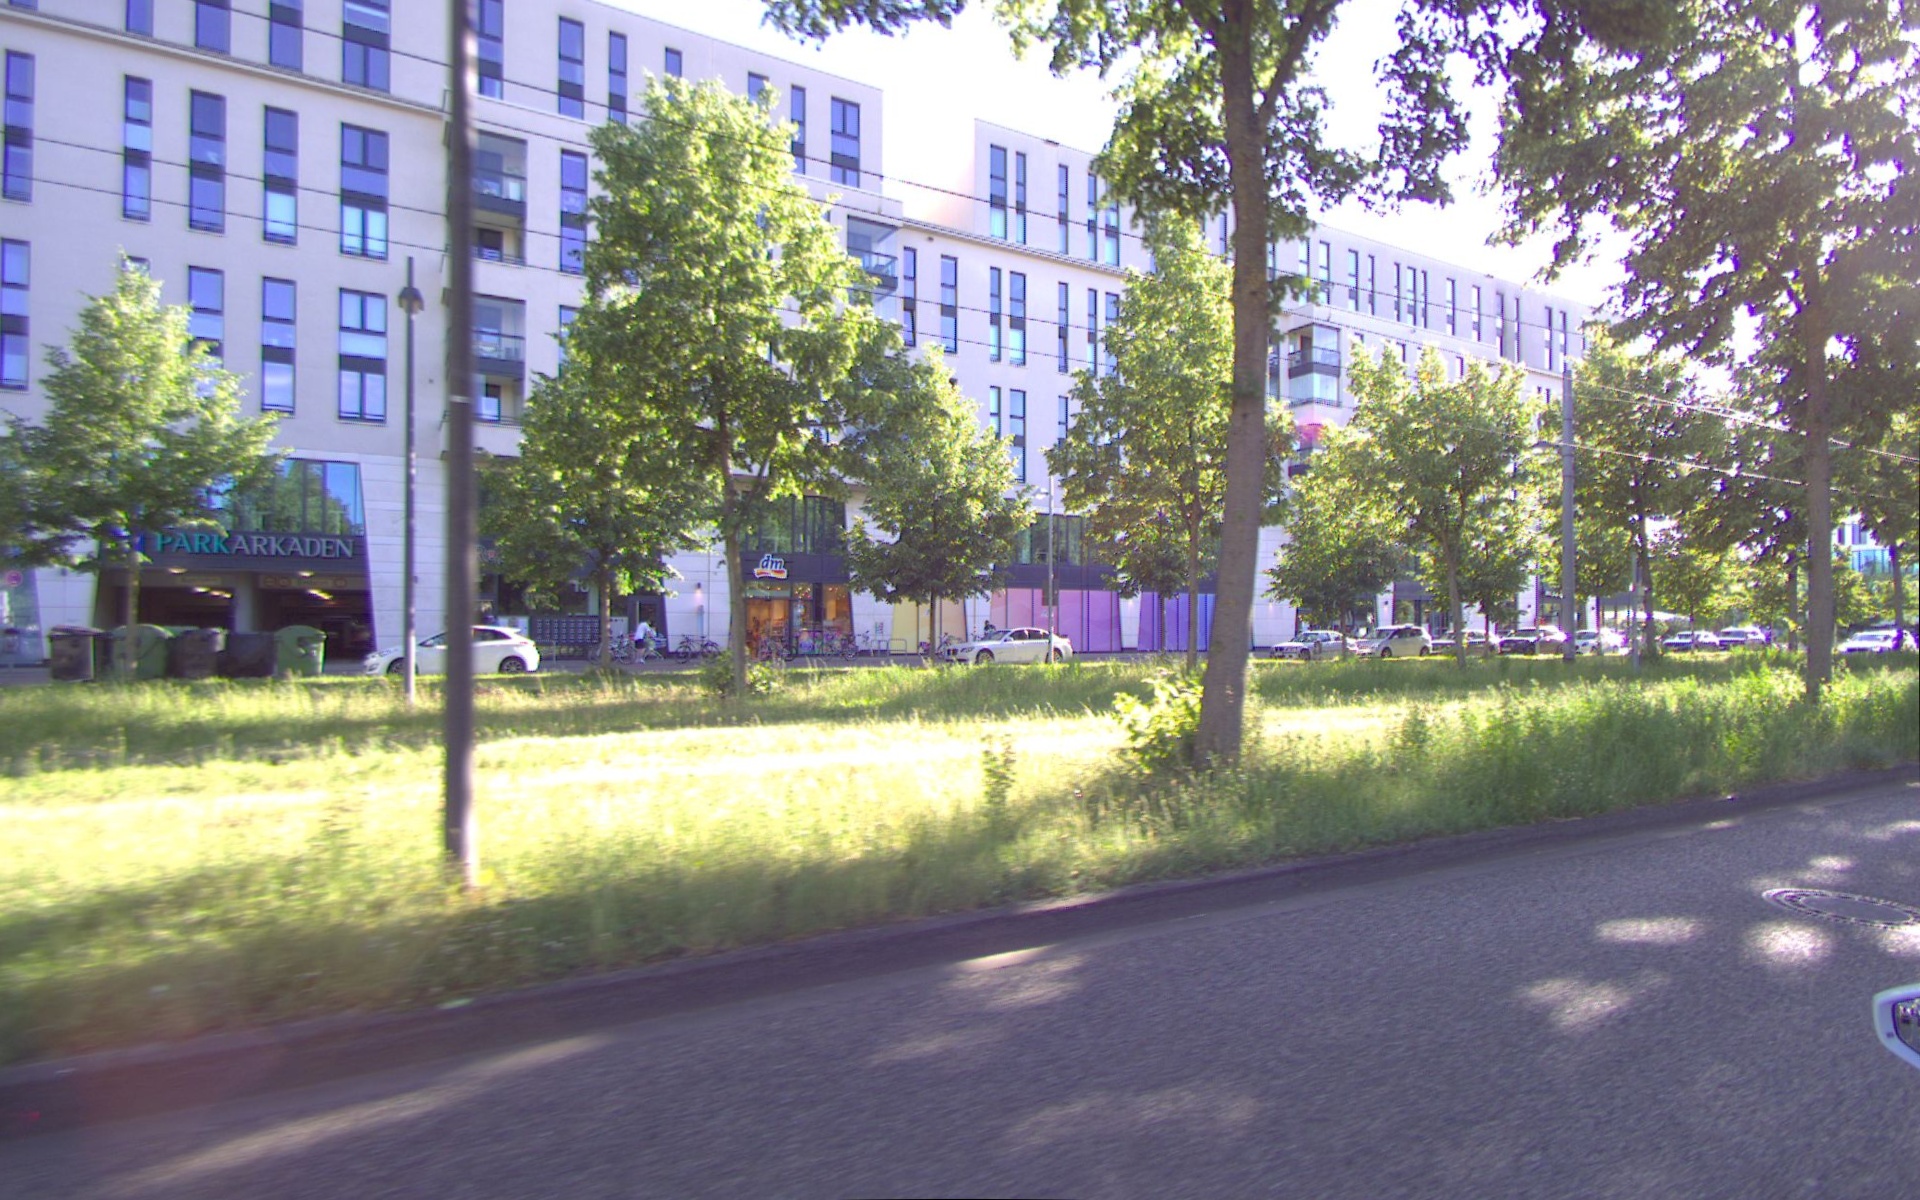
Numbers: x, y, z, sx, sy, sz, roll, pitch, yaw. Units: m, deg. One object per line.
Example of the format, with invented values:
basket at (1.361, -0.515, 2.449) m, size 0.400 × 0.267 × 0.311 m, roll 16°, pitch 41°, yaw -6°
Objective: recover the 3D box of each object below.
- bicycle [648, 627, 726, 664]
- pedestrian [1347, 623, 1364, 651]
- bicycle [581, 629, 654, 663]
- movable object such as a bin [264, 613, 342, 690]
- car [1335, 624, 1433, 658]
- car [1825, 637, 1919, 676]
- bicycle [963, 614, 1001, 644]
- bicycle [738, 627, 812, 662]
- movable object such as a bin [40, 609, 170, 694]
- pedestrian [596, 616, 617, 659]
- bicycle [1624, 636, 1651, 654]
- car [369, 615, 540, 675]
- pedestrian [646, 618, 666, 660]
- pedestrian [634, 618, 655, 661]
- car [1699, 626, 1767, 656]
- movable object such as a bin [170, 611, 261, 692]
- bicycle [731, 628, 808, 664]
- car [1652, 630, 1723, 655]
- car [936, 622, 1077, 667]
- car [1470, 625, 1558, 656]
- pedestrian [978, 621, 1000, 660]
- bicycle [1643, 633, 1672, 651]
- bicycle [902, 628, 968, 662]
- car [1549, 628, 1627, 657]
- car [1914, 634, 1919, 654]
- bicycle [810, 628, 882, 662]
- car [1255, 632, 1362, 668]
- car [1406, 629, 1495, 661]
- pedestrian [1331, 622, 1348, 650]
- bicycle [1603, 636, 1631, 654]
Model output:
bicycle at (-10.235, 1.701, 37.681) m, size 2.732 × 1.298 × 0.945 m, roll 2°, pitch 0°, yaw -23°
pedestrian at (23.759, 2.226, 60.393) m, size 0.712 × 1.673 × 0.632 m, roll 2°, pitch 0°, yaw -32°
bicycle at (-12.401, 1.667, 36.394) m, size 2.357 × 1.152 × 0.859 m, roll 2°, pitch 0°, yaw -40°
movable object such as a bin at (-16.554, 1.273, 25.389) m, size 1.538 × 1.818 × 1.960 m, roll 2°, pitch 0°, yaw -31°
car at (19.902, 1.927, 47.098) m, size 4.404 × 1.460 × 1.984 m, roll 2°, pitch 0°, yaw -30°
car at (43.873, 2.691, 48.242) m, size 5.051 × 1.708 × 1.984 m, roll 2°, pitch 0°, yaw -31°
bicycle at (0.979, 1.279, 44.179) m, size 1.590 × 1.298 × 0.594 m, roll 2°, pitch 0°, yaw -32°
bicycle at (-7.340, 1.760, 39.819) m, size 2.732 × 1.298 × 0.945 m, roll 2°, pitch 0°, yaw -23°
movable object such as a bin at (-19.764, 1.167, 23.319) m, size 1.988 × 1.818 × 1.959 m, roll 2°, pitch 0°, yaw -32°
pedestrian at (-13.352, 1.407, 37.954) m, size 0.511 × 1.570 × 0.502 m, roll 2°, pitch 0°, yaw 12°
bicycle at (48.988, 3.256, 72.669) m, size 2.215 × 1.214 × 0.729 m, roll 2°, pitch 0°, yaw -31°
car at (-13.722, 1.209, 27.312) m, size 3.976 × 1.460 × 1.982 m, roll 2°, pitch 0°, yaw -32°
pedestrian at (-11.519, 1.464, 38.064) m, size 0.511 × 1.570 × 0.502 m, roll 2°, pitch 0°, yaw 12°
pedestrian at (-11.742, 1.456, 37.417) m, size 0.511 × 1.570 × 0.502 m, roll 2°, pitch 0°, yaw 12°
car at (50.066, 2.642, 65.034) m, size 4.724 × 1.795 × 1.982 m, roll 2°, pitch 0°, yaw -32°
movable object such as a bin at (-18.073, 1.223, 24.458) m, size 1.538 × 1.818 × 1.960 m, roll 2°, pitch 0°, yaw -31°
bicycle at (-7.319, 1.757, 38.612) m, size 2.732 × 1.298 × 0.945 m, roll 2°, pitch 0°, yaw -23°
car at (44.678, 2.608, 61.693) m, size 4.215 × 1.460 × 1.949 m, roll 2°, pitch 0°, yaw -30°
car at (1.715, 1.614, 36.614) m, size 4.872 × 1.460 × 1.982 m, roll 2°, pitch 0°, yaw -32°
car at (29.336, 2.148, 53.156) m, size 4.883 × 1.460 × 1.982 m, roll 2°, pitch 0°, yaw -33°
pedestrian at (1.293, 1.777, 44.469) m, size 0.712 × 1.673 × 0.632 m, roll 2°, pitch 0°, yaw -32°
bicycle at (51.512, 3.093, 74.188) m, size 1.806 × 1.269 × 0.589 m, roll 2°, pitch 0°, yaw -8°
bicycle at (-1.094, 1.887, 42.884) m, size 2.723 × 1.298 × 0.948 m, roll 2°, pitch 0°, yaw 32°
car at (35.366, 2.387, 56.534) m, size 4.407 × 1.460 × 1.982 m, roll 2°, pitch 0°, yaw -33°
car at (83.047, 3.806, 85.116) m, size 4.555 × 1.642 × 1.871 m, roll 2°, pitch 0°, yaw -29°
bicycle at (-4.620, 1.828, 40.860) m, size 2.732 × 1.298 × 0.945 m, roll 2°, pitch 0°, yaw -23°
car at (15.528, 2.201, 44.643) m, size 4.727 × 1.460 × 1.982 m, roll 2°, pitch 0°, yaw -33°
car at (24.465, 2.216, 50.095) m, size 4.407 × 1.460 × 1.982 m, roll 2°, pitch 0°, yaw -33°
pedestrian at (22.991, 2.203, 60.876) m, size 0.713 × 1.673 × 0.631 m, roll 2°, pitch 0°, yaw -37°
bicycle at (46.646, 3.179, 71.336) m, size 2.215 × 1.214 × 0.729 m, roll 2°, pitch 0°, yaw -31°
